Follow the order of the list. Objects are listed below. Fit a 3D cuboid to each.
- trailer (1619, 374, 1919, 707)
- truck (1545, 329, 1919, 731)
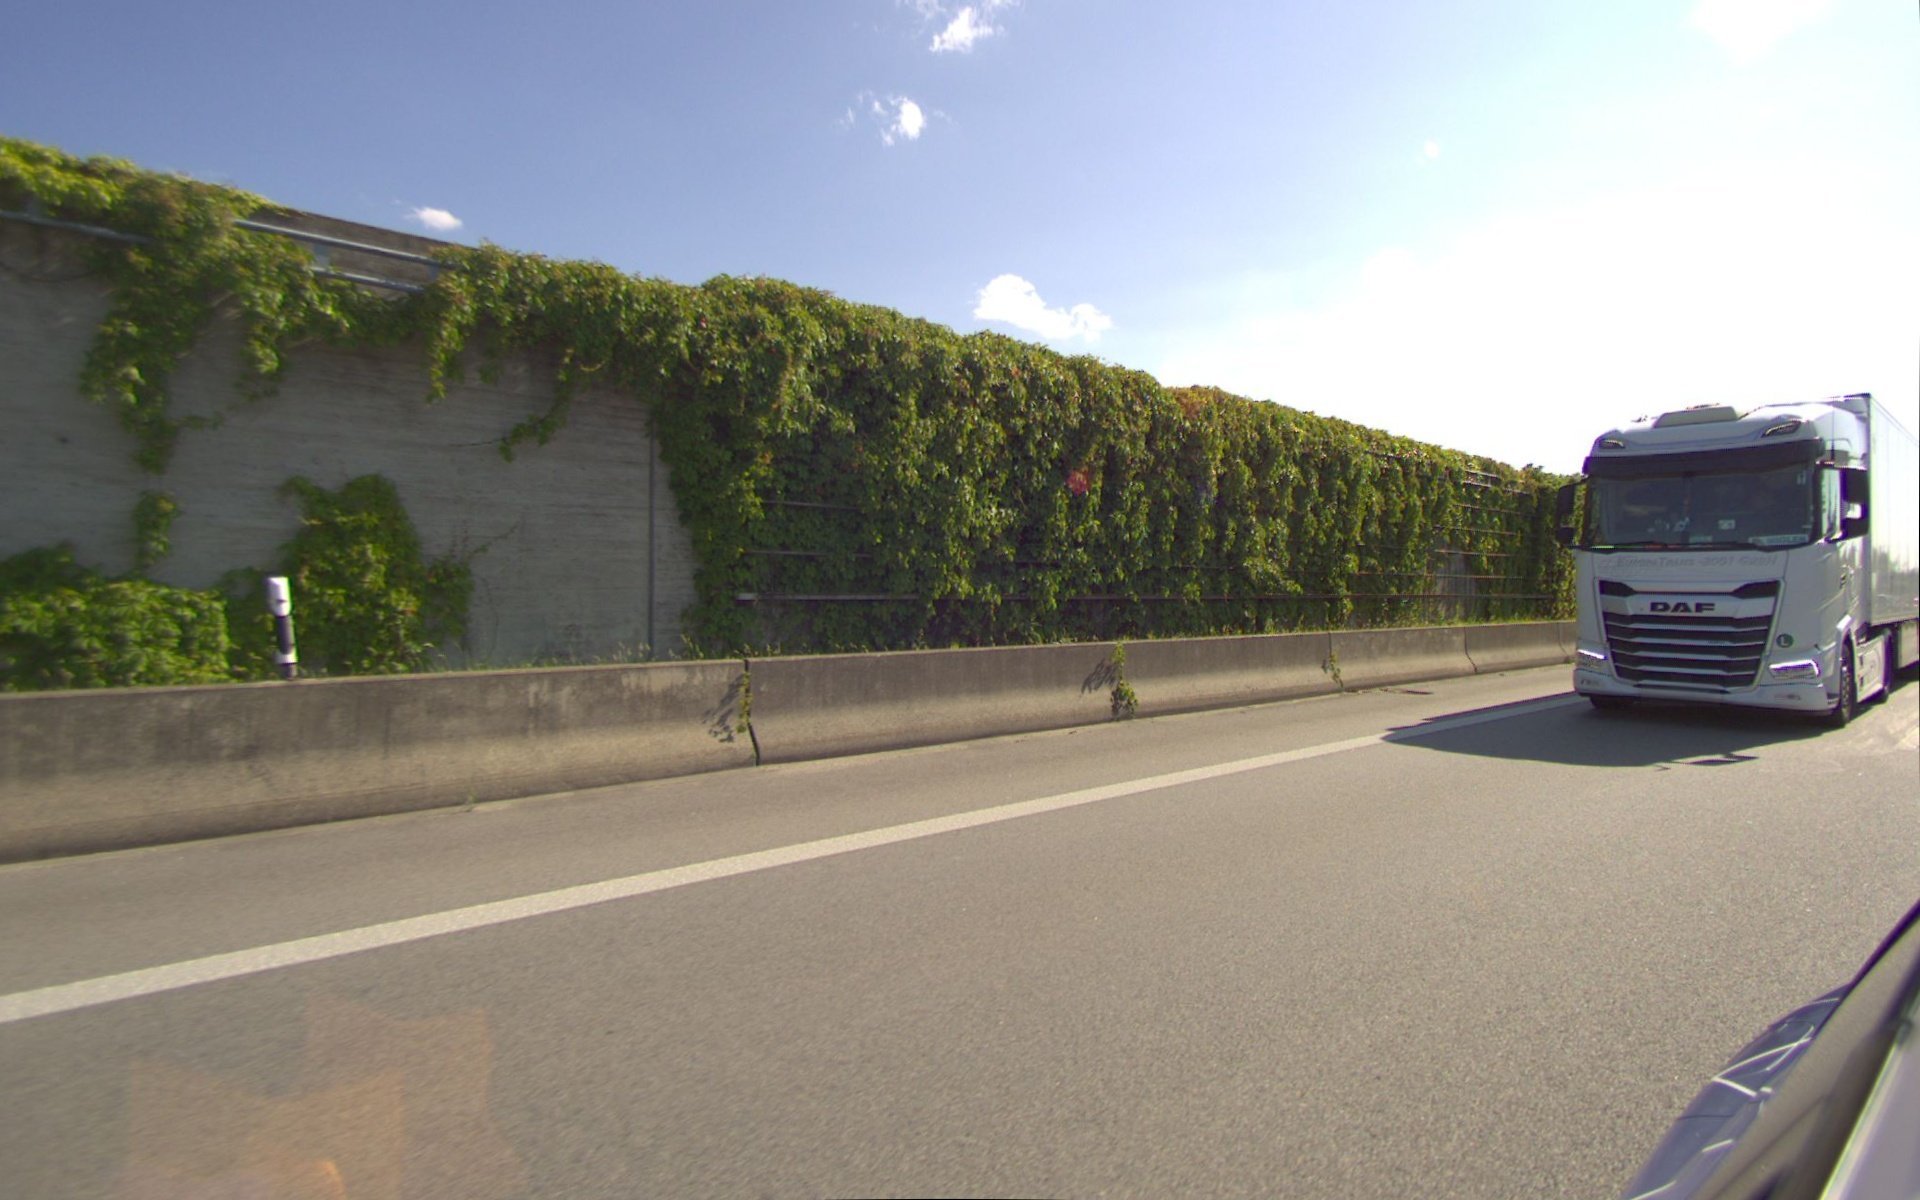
[{"bbox_3d":[15.517,-0.781,17.930,13.917,4.015,2.824,0,3,-42],"label":"trailer"},{"bbox_3d":[10.673,-0.765,13.528,6.924,4.015,2.845,0,3,-43],"label":"truck"}]
